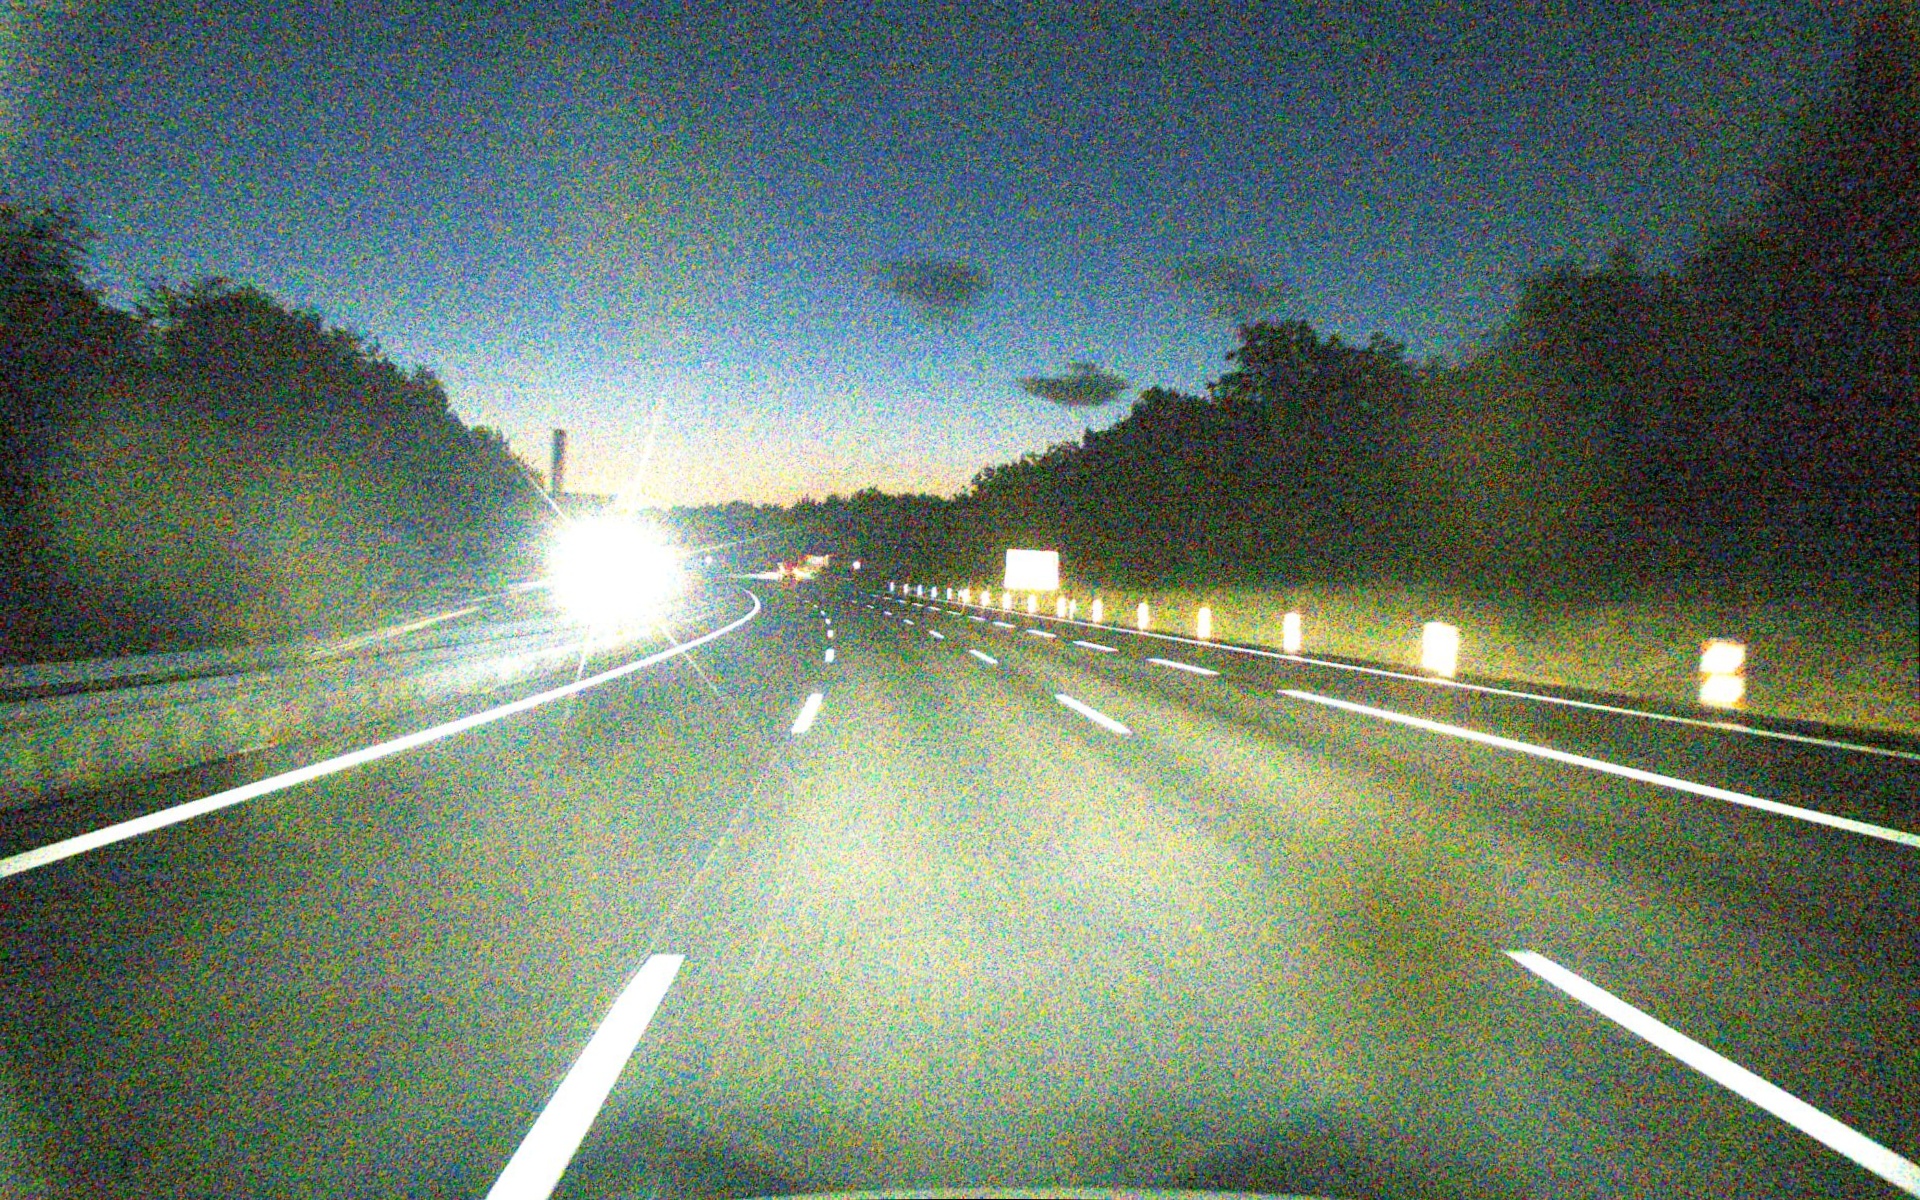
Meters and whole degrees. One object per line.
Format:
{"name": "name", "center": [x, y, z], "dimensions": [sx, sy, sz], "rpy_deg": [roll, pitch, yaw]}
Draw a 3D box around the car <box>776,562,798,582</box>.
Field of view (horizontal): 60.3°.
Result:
{"name": "car", "center": [-24.450, -3.984, 234.103], "dimensions": [2.483, 2.597, 6.035], "rpy_deg": [3, 1, -11]}
